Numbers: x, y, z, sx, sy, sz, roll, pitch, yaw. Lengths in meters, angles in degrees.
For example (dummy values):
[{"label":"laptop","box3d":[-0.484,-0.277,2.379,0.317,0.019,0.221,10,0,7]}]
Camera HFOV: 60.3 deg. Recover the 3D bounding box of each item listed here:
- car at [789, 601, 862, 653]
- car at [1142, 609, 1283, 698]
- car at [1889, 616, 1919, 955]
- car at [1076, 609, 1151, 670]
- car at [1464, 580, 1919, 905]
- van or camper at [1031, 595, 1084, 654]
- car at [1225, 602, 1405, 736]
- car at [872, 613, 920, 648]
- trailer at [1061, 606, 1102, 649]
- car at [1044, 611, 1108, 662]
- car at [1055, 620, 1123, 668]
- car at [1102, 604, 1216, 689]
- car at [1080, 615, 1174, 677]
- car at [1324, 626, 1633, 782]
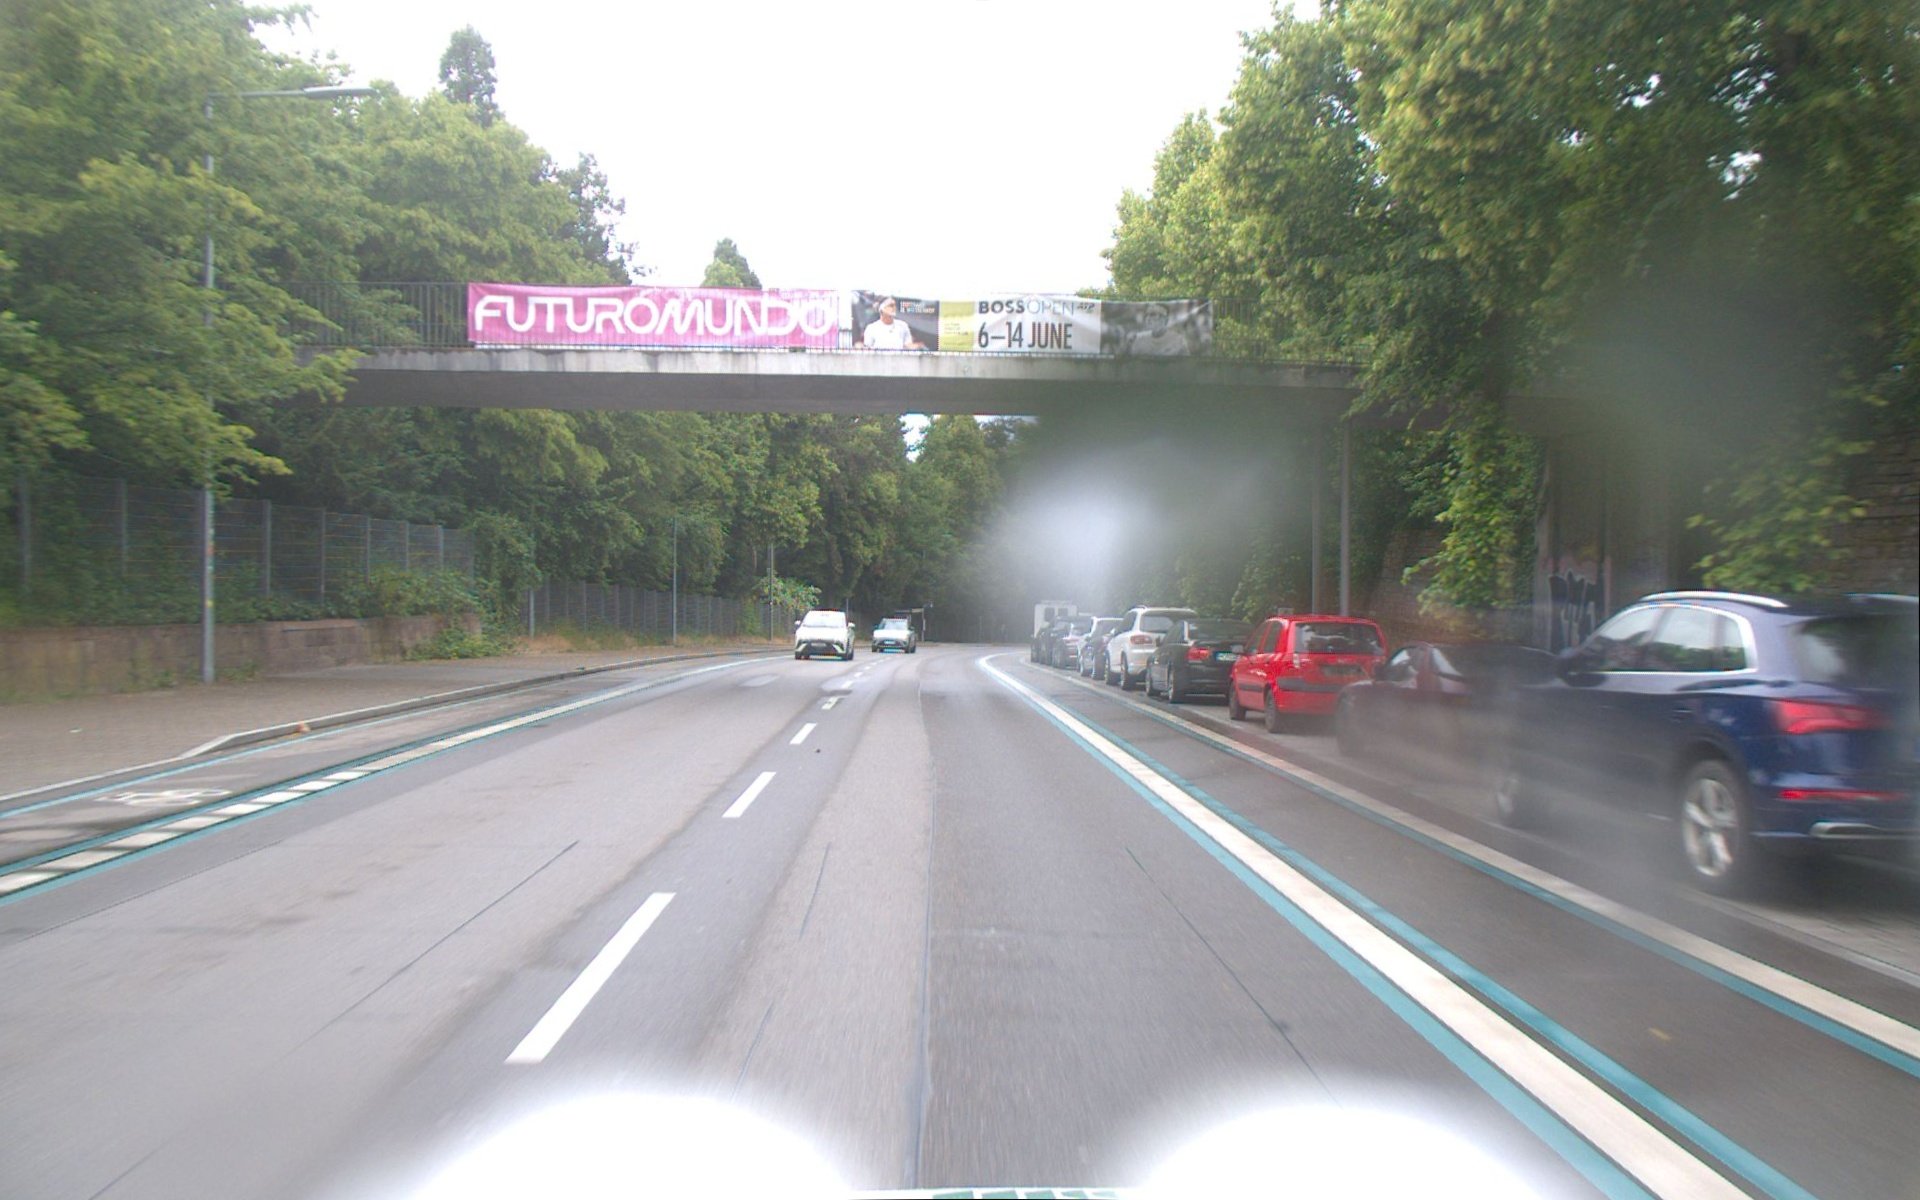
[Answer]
[{"label":"car","box3d":[-4.290,0.845,53.249,1.931,1.579,3.870,1,0,1]},{"label":"car","box3d":[4.321,0.924,28.910,1.639,1.418,4.448,1,-2,-2]},{"label":"car","box3d":[4.979,0.840,5.044,1.626,1.451,4.617,1,1,-1]},{"label":"car","box3d":[4.188,1.074,45.558,1.627,1.562,3.740,2,-1,-1]},{"label":"car","box3d":[5.041,0.691,10.507,1.954,1.587,4.639,1,1,-4]},{"label":"van or camper","box3d":[4.838,1.231,81.528,2.268,2.711,6.385,2,-1,6]},{"label":"car","box3d":[4.657,0.852,22.155,1.527,1.492,3.625,1,2,-1]},{"label":"car","box3d":[-3.050,1.494,79.817,1.758,1.604,4.104,1,-1,5]},{"label":"trailer","box3d":[8.168,1.878,110.394,2.267,2.719,5.380,2,-1,9]},{"label":"car","box3d":[4.002,1.297,57.675,1.952,1.674,4.347,1,-2,0]},{"label":"car","box3d":[3.915,1.345,50.664,1.738,1.372,4.466,2,-2,0]},{"label":"car","box3d":[4.098,0.957,34.654,1.679,1.647,4.258,1,-1,-3]},{"label":"car","box3d":[4.021,1.154,40.402,1.683,1.400,4.556,1,-2,-2]},{"label":"car","box3d":[4.951,0.935,16.411,1.593,1.210,4.181,1,1,-2]}]
